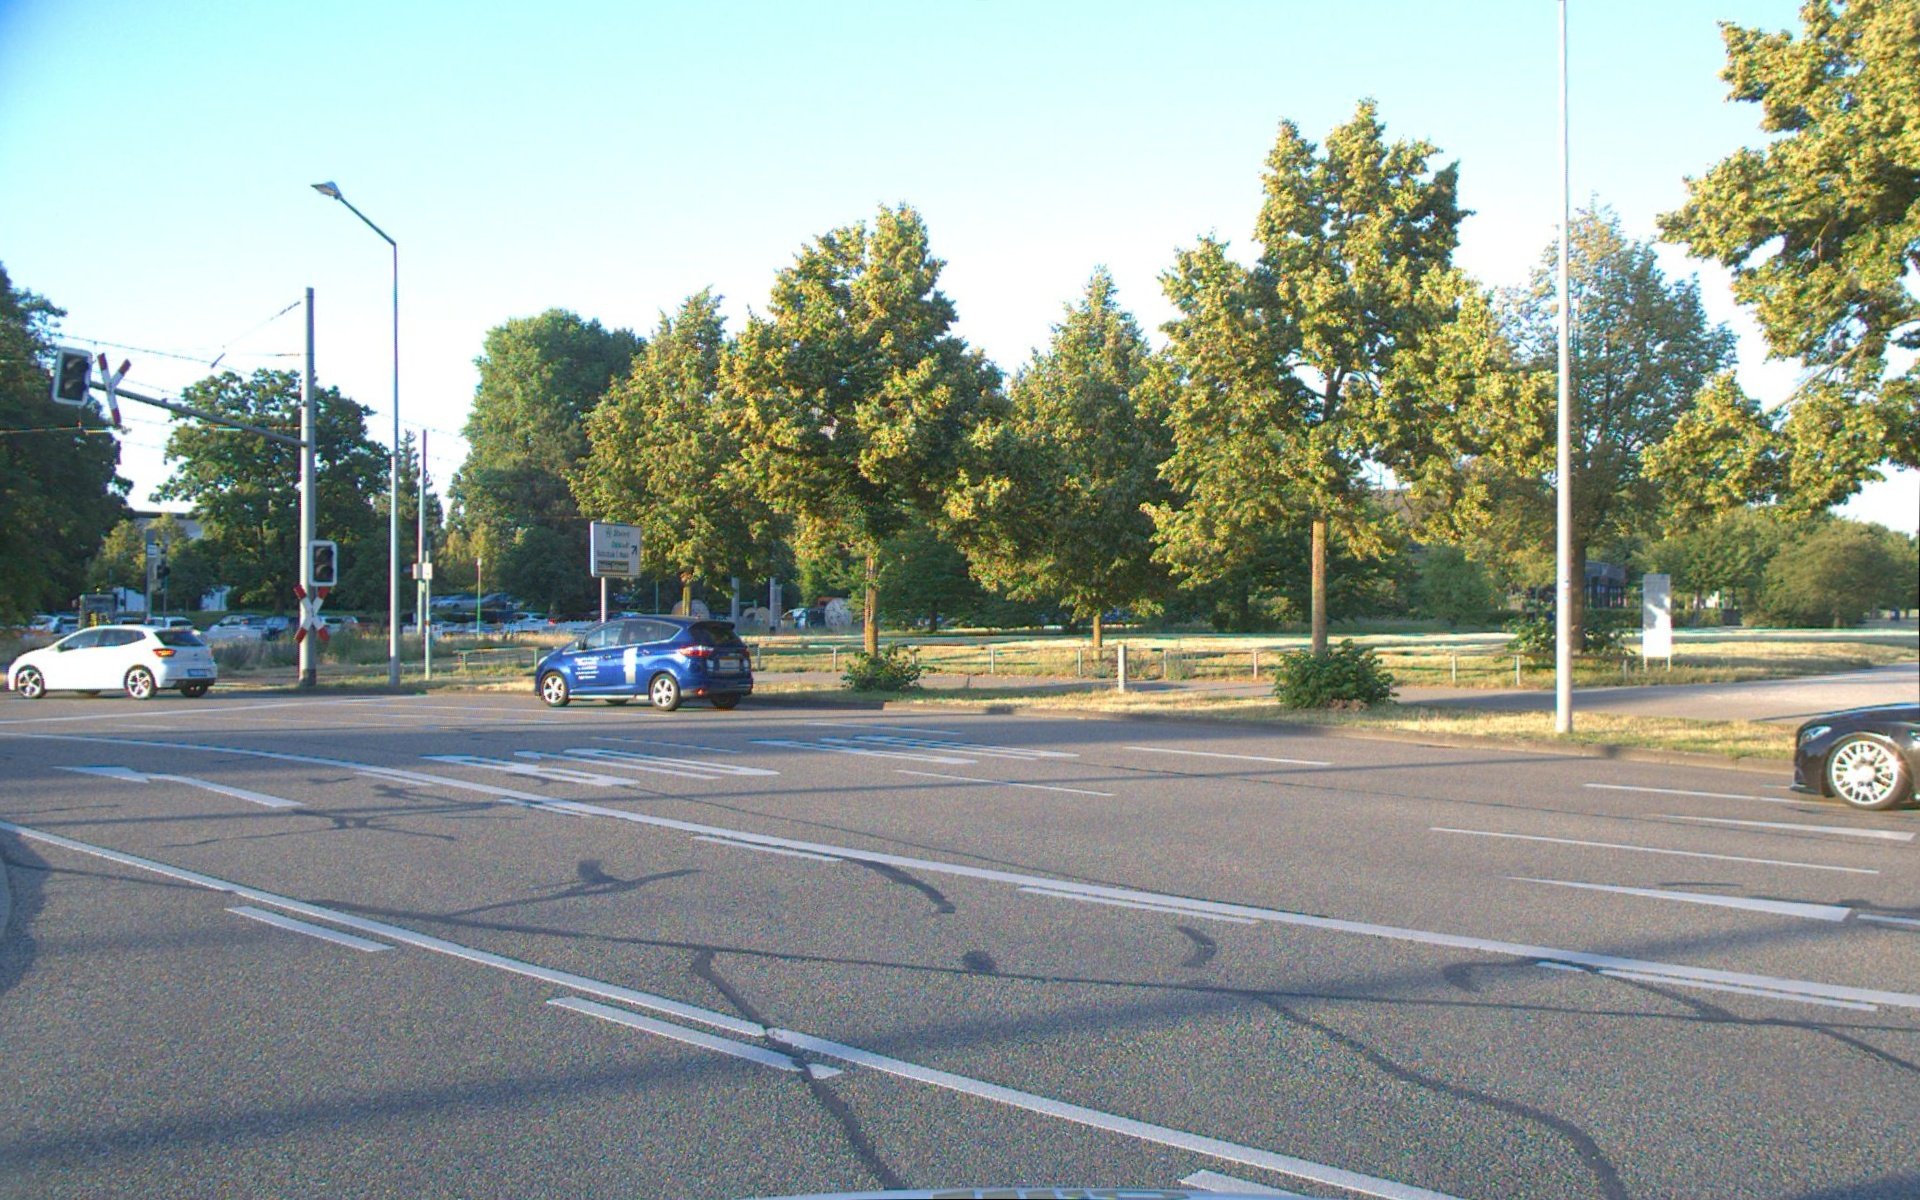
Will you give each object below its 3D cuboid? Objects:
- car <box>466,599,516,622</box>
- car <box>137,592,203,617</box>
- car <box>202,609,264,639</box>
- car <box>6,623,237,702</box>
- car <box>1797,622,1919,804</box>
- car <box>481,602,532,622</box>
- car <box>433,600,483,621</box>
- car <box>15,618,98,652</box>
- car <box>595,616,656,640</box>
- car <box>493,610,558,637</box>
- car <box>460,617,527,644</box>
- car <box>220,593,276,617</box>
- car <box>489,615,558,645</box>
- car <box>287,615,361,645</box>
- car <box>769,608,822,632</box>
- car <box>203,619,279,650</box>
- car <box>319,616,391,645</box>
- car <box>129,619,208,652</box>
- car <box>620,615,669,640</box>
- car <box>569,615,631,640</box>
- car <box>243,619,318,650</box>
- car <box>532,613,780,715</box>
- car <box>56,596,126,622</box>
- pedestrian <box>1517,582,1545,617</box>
[{"bbox_3d":[-41.983,0.913,148.124,1.963,2.049,3.978,0,0,40],"label":"car"},{"bbox_3d":[-65.169,0.343,136.557,1.959,2.049,4.584,0,0,34],"label":"car"},{"bbox_3d":[-51.255,1.680,116.607,3.938,2.049,1.983,0,0,-26],"label":"car"},{"bbox_3d":[-16.841,1.225,33.275,3.874,1.479,1.869,0,0,14],"label":"car"},{"bbox_3d":[9.726,0.992,13.789,1.985,1.531,4.545,3,-2,-44],"label":"car"},{"bbox_3d":[-39.631,1.080,144.576,3.902,1.736,2.001,0,0,7],"label":"car"},{"bbox_3d":[-45.806,0.933,151.006,1.959,1.847,3.986,0,0,35],"label":"car"},{"bbox_3d":[-44.427,1.706,81.339,3.916,1.632,1.994,0,0,33],"label":"car"},{"bbox_3d":[-23.245,1.949,115.032,3.916,1.632,1.994,0,0,33],"label":"car"},{"bbox_3d":[-32.801,1.766,125.010,4.498,2.049,1.996,0,0,-9],"label":"car"},{"bbox_3d":[-29.465,1.899,104.381,3.916,1.632,1.994,0,0,33],"label":"car"},{"bbox_3d":[-61.345,0.459,142.525,1.959,2.049,4.103,0,0,34],"label":"car"},{"bbox_3d":[-30.843,2.081,116.872,4.498,2.049,1.996,0,0,-9],"label":"car"},{"bbox_3d":[-36.023,1.693,93.657,3.916,1.632,1.994,0,0,33],"label":"car"},{"bbox_3d":[-11.360,1.377,114.114,1.723,1.646,3.942,0,0,-40],"label":"car"},{"bbox_3d":[-39.212,1.873,90.208,3.916,1.632,1.994,0,0,33],"label":"car"},{"bbox_3d":[-35.048,1.729,95.862,3.916,1.632,1.994,0,0,33],"label":"car"},{"bbox_3d":[-40.998,1.802,85.643,3.916,1.632,1.994,0,0,33],"label":"car"},{"bbox_3d":[-24.546,2.088,128.537,1.978,1.782,4.539,0,1,-36],"label":"car"},{"bbox_3d":[-24.637,1.855,113.303,3.916,1.632,1.994,0,0,33],"label":"car"},{"bbox_3d":[-37.747,1.913,91.855,3.916,1.632,1.994,0,0,33],"label":"car"},{"bbox_3d":[-5.382,1.073,29.205,4.091,1.611,1.911,1,0,32],"label":"car"},{"bbox_3d":[-68.663,0.704,130.730,1.956,2.049,4.589,0,0,30],"label":"car"},{"bbox_3d":[27.153,-0.018,78.688,1.047,1.646,0.911,0,0,3],"label":"pedestrian"}]
